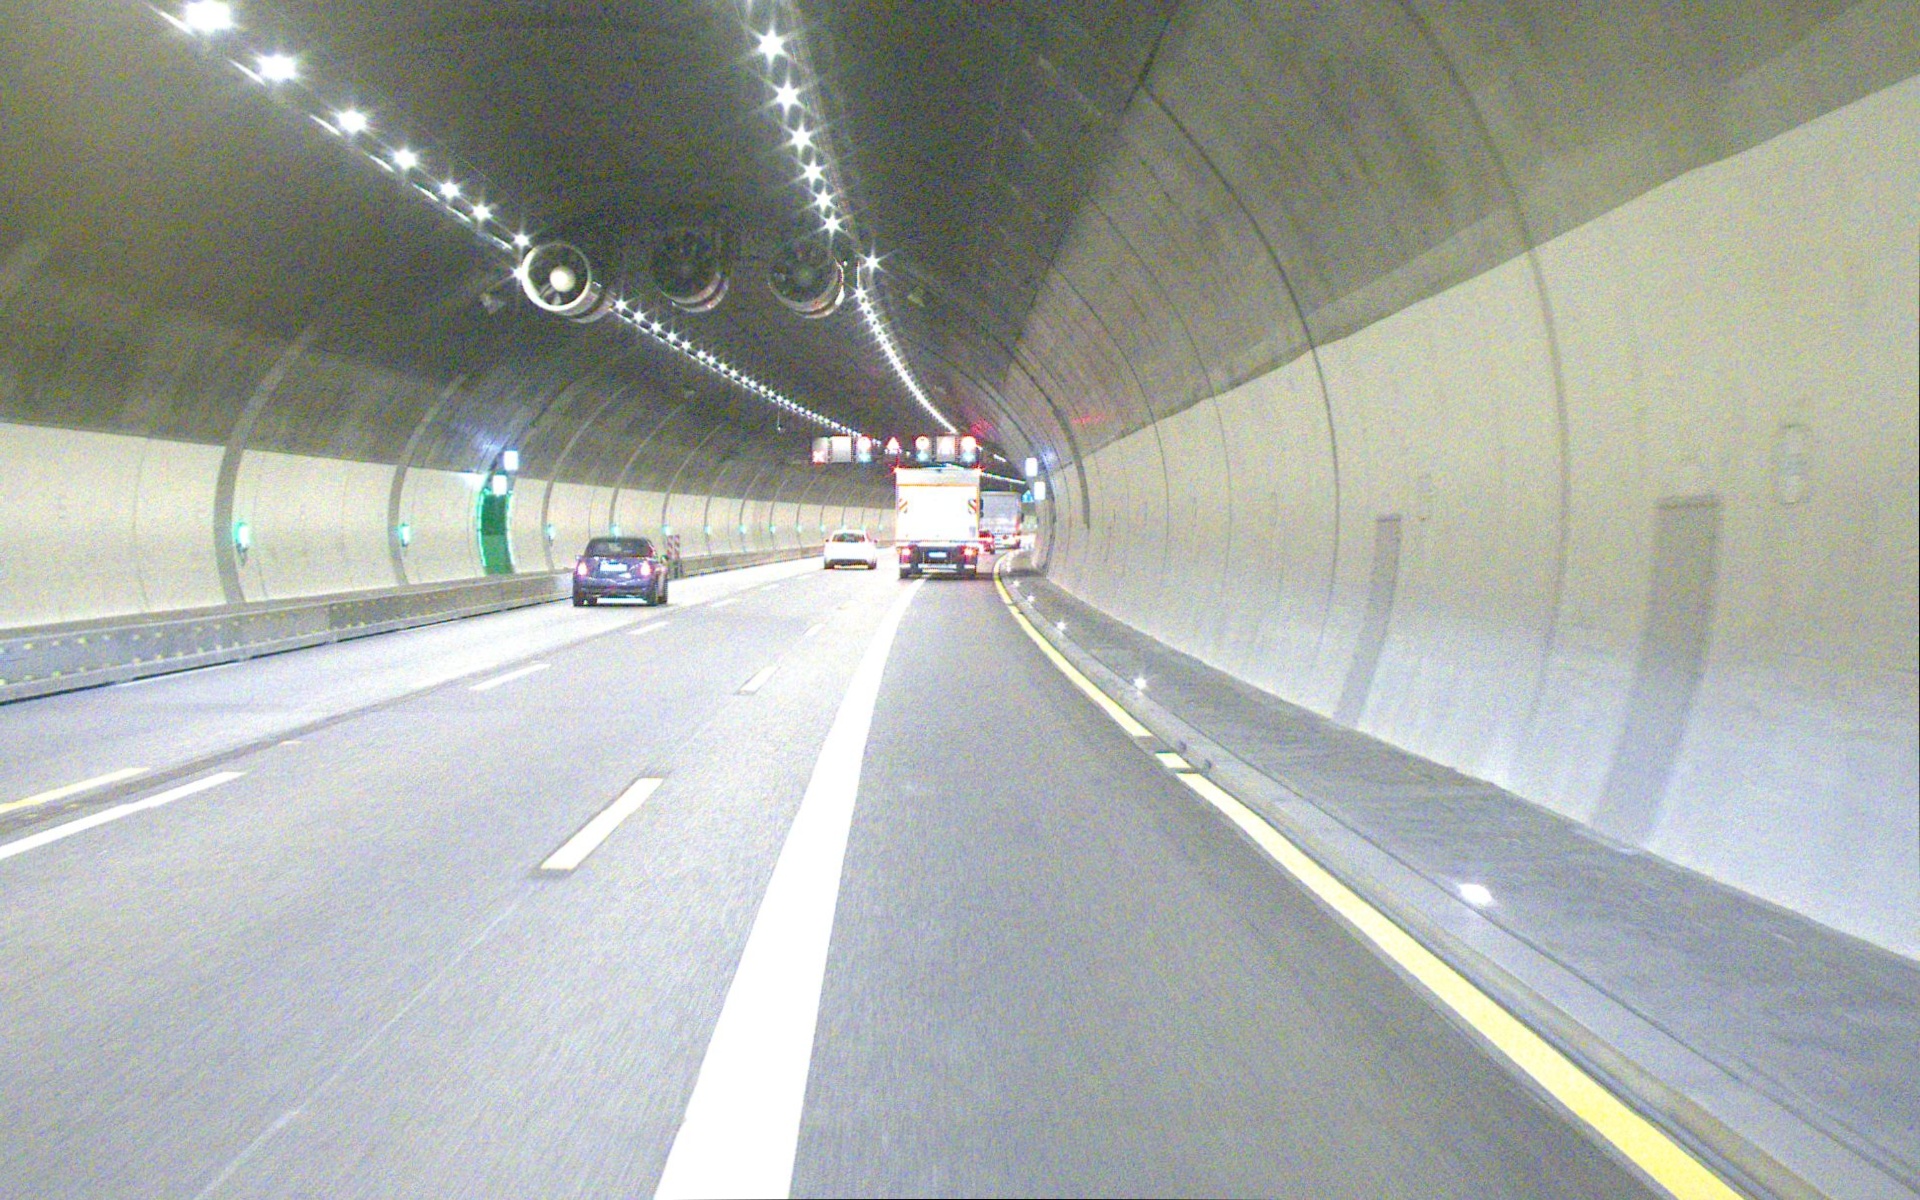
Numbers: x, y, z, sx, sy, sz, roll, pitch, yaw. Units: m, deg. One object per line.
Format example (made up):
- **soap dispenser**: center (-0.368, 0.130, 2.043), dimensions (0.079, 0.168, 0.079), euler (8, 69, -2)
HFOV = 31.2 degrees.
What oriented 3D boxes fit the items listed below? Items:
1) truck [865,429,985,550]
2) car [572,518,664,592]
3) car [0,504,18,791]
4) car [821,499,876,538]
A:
- **truck**: center (-1.145, -3.490, 109.068), dimensions (3.592, 3.637, 10.723), euler (0, 2, -1)
- **car**: center (-6.896, -0.935, 69.674), dimensions (1.689, 1.412, 3.924), euler (0, 2, -3)
- **car**: center (-6.108, 0.290, 16.343), dimensions (1.993, 1.535, 4.743), euler (0, 1, -1)
- **car**: center (-4.139, -3.051, 128.055), dimensions (1.993, 1.408, 4.743), euler (0, 2, -1)
